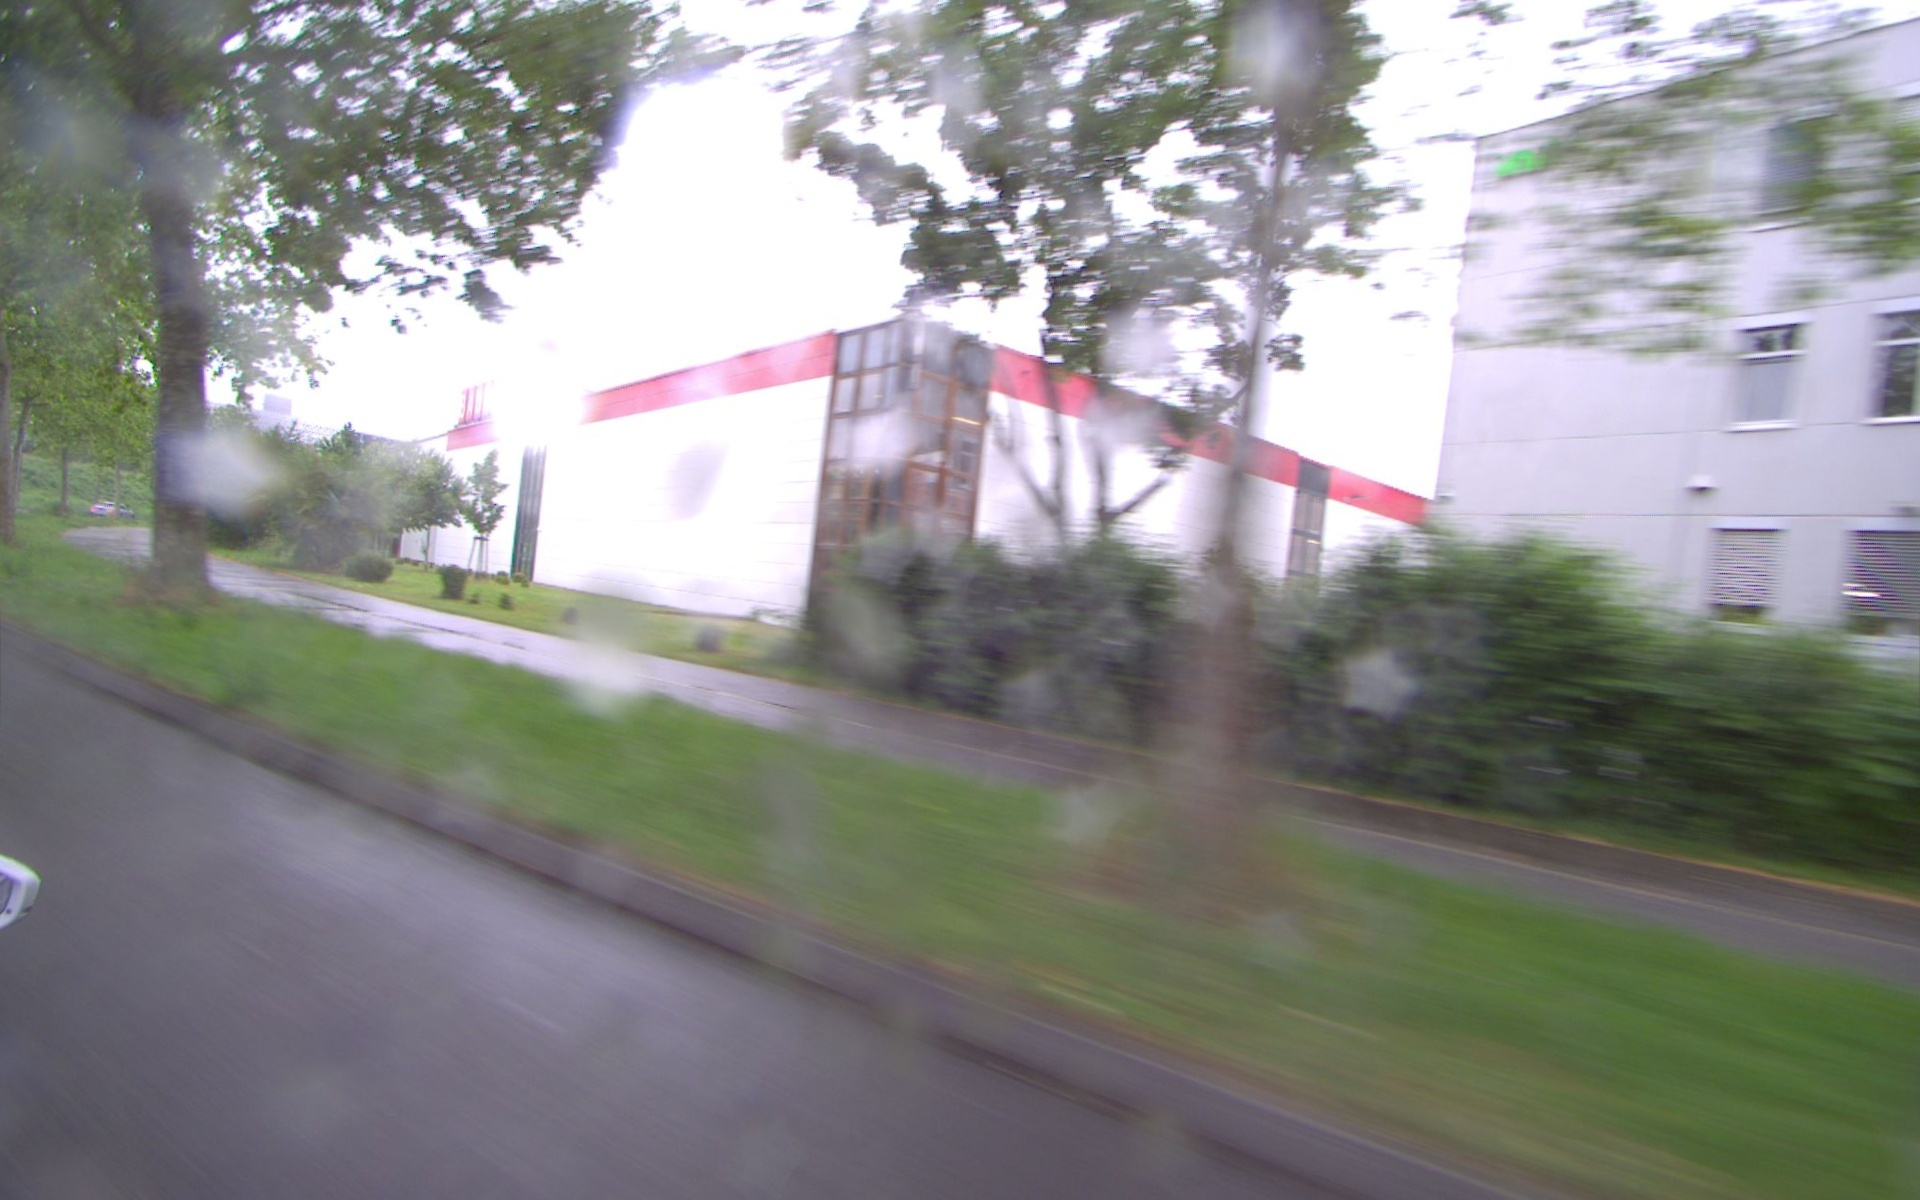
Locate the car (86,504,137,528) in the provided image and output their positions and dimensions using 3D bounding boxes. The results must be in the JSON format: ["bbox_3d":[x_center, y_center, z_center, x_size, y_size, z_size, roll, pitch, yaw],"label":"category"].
[{"bbox_3d":[-70.753,-6.974,83.971,1.761,1.574,3.982,9,-1,-20],"label":"car"}]
